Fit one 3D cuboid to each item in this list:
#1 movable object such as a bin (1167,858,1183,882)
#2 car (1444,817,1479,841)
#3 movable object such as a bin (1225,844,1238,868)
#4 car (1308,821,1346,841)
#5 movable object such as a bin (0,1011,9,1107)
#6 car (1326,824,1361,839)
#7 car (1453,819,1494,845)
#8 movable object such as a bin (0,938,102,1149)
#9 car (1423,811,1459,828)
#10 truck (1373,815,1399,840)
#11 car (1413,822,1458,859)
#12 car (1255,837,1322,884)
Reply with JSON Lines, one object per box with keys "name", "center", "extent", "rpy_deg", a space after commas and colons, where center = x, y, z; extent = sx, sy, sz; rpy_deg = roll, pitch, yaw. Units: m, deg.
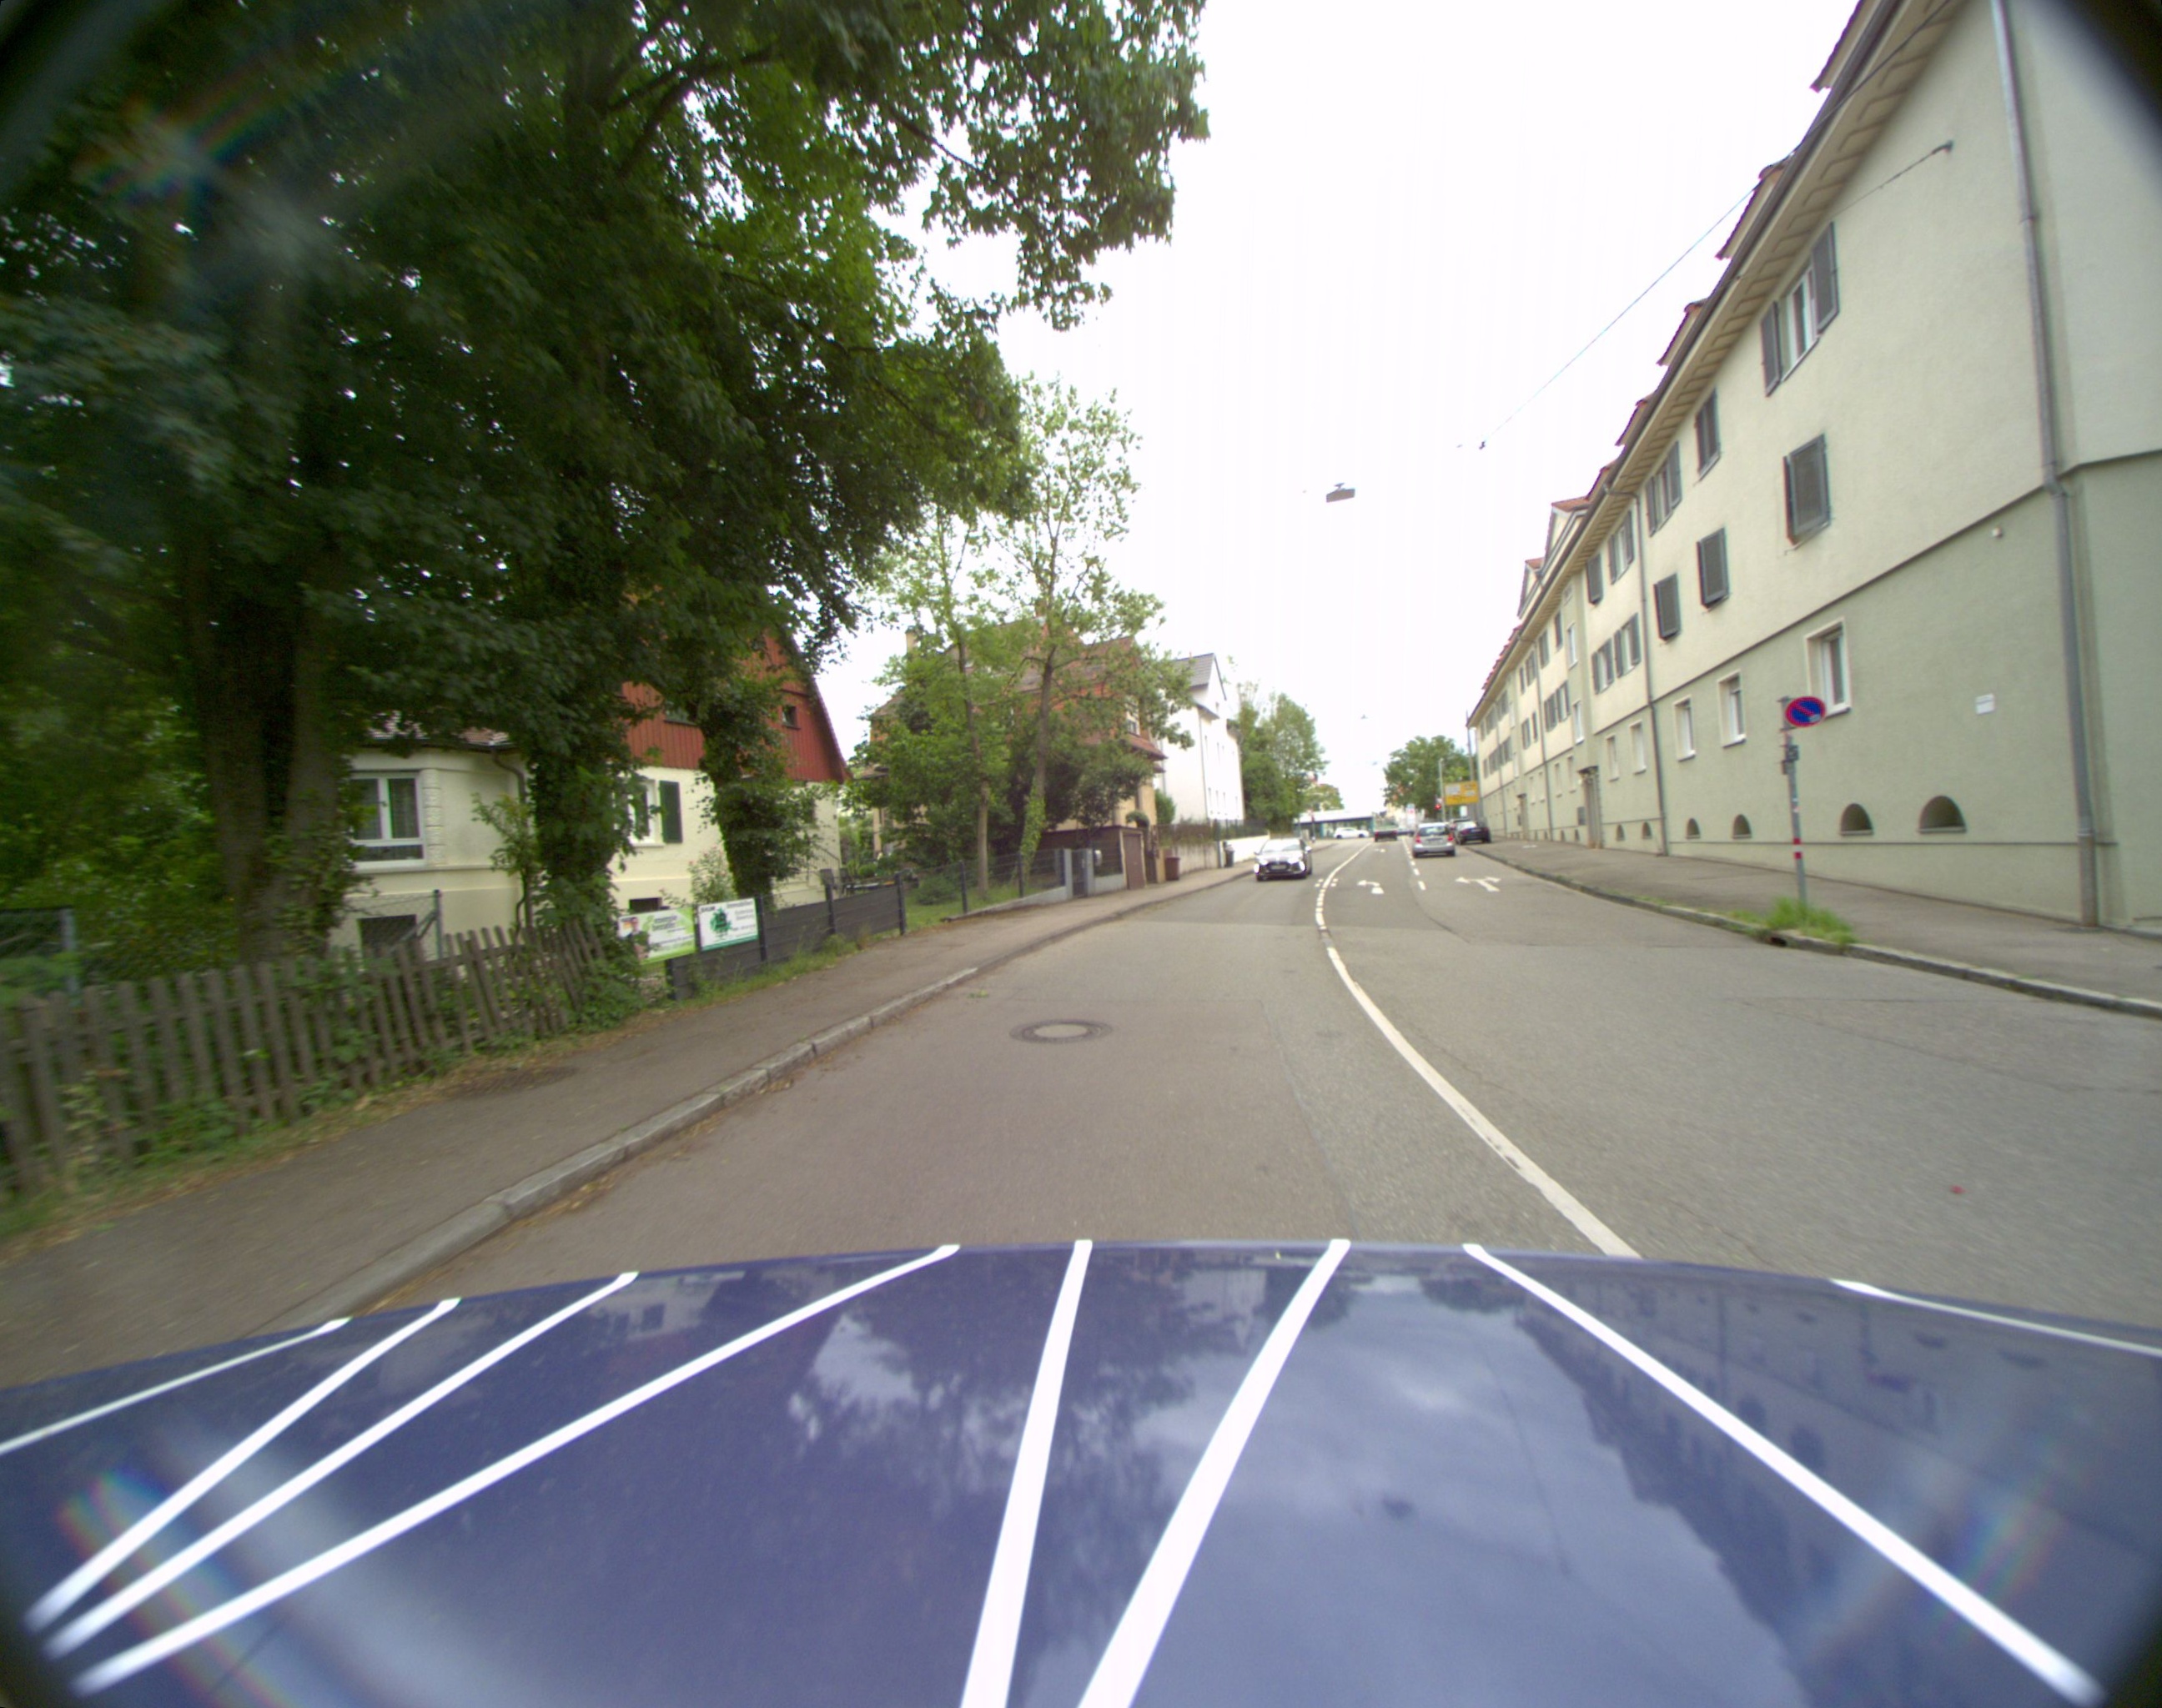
{"name": "movable object such as a bin", "center": [3.600, 0.607, 29.101], "extent": [0.461, 0.919, 0.567], "rpy_deg": [0, 3, 22]}
{"name": "car", "center": [28.644, -1.890, 57.259], "extent": [1.824, 1.623, 4.702], "rpy_deg": [-5, 0, 21]}
{"name": "movable object such as a bin", "center": [7.637, 0.111, 38.630], "extent": [0.528, 1.172, 0.635], "rpy_deg": [0, 3, 22]}
{"name": "car", "center": [28.102, -2.587, 86.697], "extent": [3.992, 2.002, 2.002], "rpy_deg": [-3, 2, 19]}
{"name": "movable object such as a bin", "center": [-12.974, 1.923, 7.335], "extent": [2.496, 1.703, 2.210], "rpy_deg": [-3, 1, 15]}
{"name": "car", "center": [33.897, -2.927, 98.192], "extent": [3.991, 1.718, 2.002], "rpy_deg": [-4, 1, 23]}
{"name": "car", "center": [24.364, -1.398, 47.280], "extent": [1.712, 1.395, 4.852], "rpy_deg": [-4, 1, 22]}
{"name": "movable object such as a bin", "center": [-10.661, 1.763, 6.408], "extent": [2.106, 1.777, 2.210], "rpy_deg": [-3, 1, 15]}
{"name": "car", "center": [47.771, -4.558, 100.886], "extent": [3.992, 2.002, 2.002], "rpy_deg": [-3, 2, 17]}
{"name": "truck", "center": [29.946, -2.620, 74.438], "extent": [2.123, 2.189, 6.598], "rpy_deg": [-2, 1, 23]}
{"name": "car", "center": [16.844, -0.689, 36.208], "extent": [1.724, 1.596, 3.982], "rpy_deg": [-3, 1, 23]}
{"name": "car", "center": [7.484, 0.193, 27.164], "extent": [1.644, 1.390, 3.786], "rpy_deg": [-3, 1, 24]}
